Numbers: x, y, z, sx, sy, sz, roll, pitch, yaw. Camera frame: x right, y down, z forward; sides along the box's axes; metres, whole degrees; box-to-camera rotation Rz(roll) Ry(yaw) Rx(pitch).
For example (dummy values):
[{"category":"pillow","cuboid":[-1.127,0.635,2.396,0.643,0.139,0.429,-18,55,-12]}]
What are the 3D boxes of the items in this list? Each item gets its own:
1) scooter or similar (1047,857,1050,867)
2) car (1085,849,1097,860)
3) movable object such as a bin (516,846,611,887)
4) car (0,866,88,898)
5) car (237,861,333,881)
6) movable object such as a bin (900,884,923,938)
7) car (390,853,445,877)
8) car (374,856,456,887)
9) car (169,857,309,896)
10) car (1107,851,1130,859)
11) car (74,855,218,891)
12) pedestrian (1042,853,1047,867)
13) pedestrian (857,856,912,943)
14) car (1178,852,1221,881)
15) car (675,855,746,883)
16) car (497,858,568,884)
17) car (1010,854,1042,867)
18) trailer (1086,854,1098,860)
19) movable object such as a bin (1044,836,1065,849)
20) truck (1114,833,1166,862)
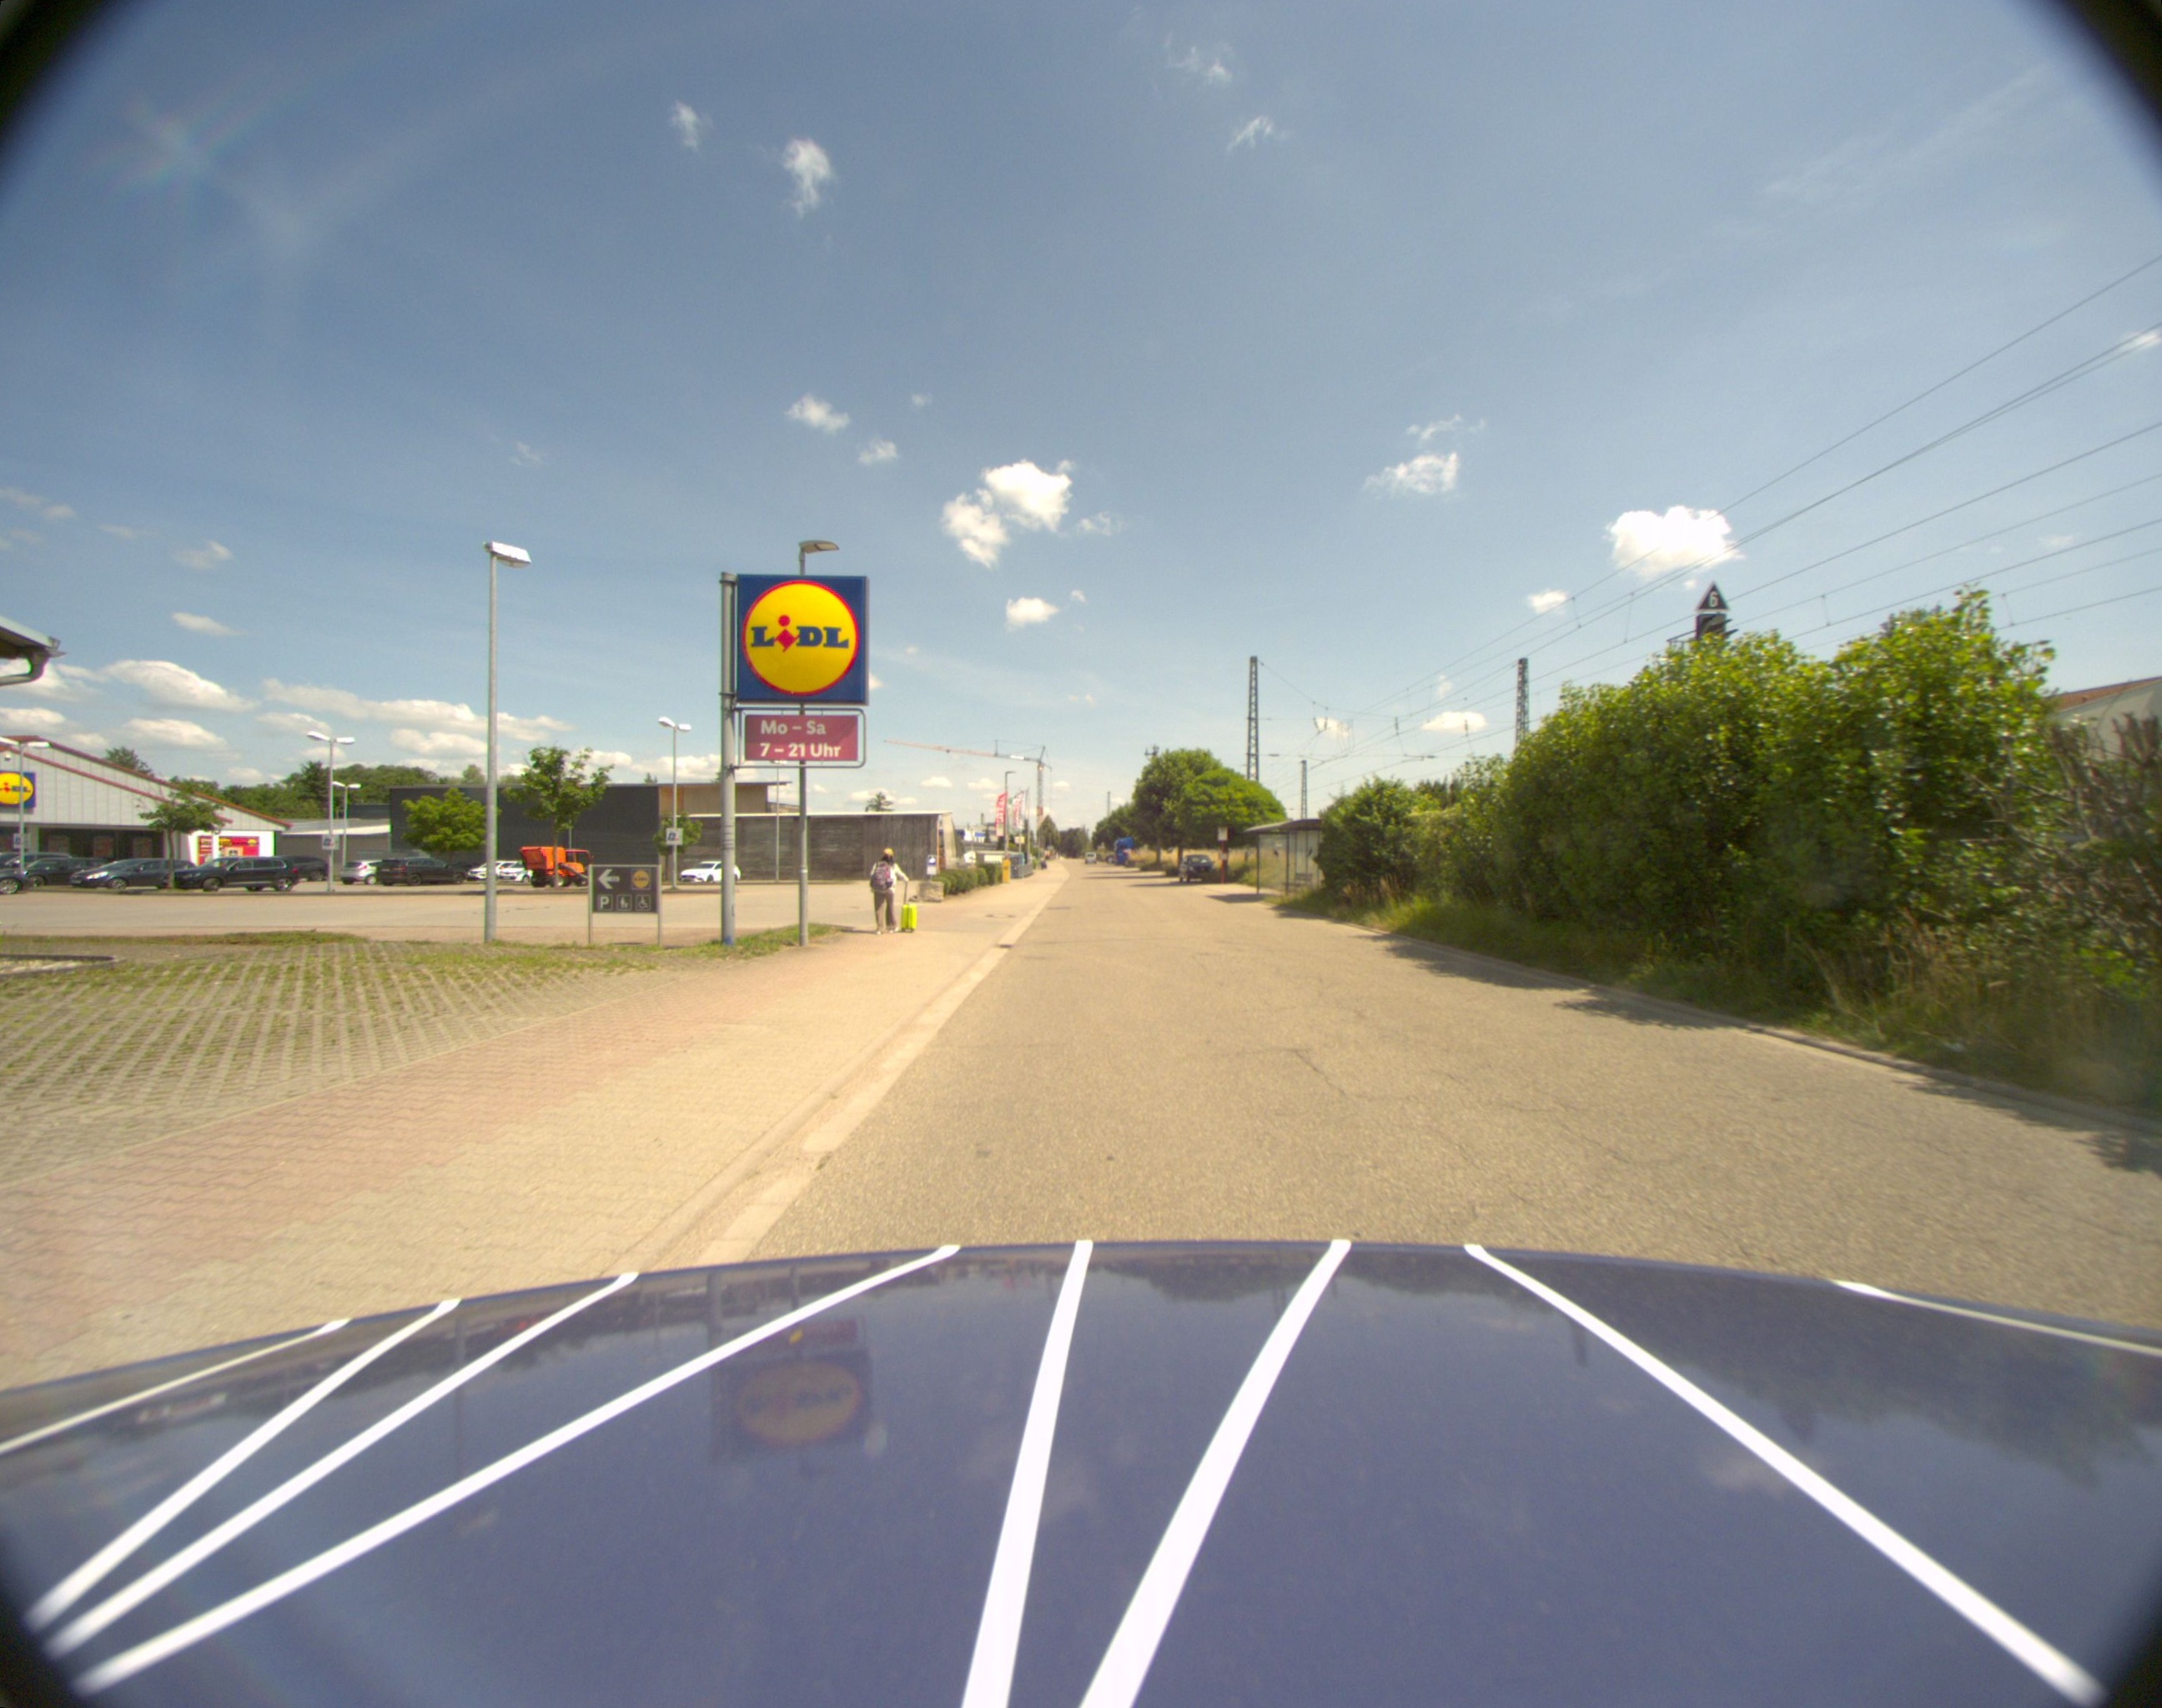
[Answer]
[{"category":"scooter or similar","cuboid":[-3.803,0.902,89.073,0.334,1.191,0.397,1,3,-1]},{"category":"car","cuboid":[1.738,0.046,131.024,1.843,1.847,4.483,-1,0,-1]},{"category":"movable object such as a bin","cuboid":[-29.396,0.667,43.360,1.682,2.191,4.526,1,0,12]},{"category":"car","cuboid":[-49.033,1.274,34.903,1.584,1.402,4.000,0,0,0]},{"category":"car","cuboid":[-49.096,1.016,46.950,1.611,1.166,3.793,1,0,14]},{"category":"movable object such as a bin","cuboid":[-3.347,1.118,15.021,0.375,1.024,0.498,0,1,-3]},{"category":"car","cuboid":[-44.271,0.729,50.733,1.224,1.558,2.673,1,0,5]},{"category":"car","cuboid":[-38.987,0.968,44.559,1.508,1.603,3.342,1,2,12]},{"category":"car","cuboid":[-38.199,0.971,34.625,1.582,1.621,4.004,0,0,12]},{"category":"car","cuboid":[6.658,0.198,133.988,3.954,1.442,1.787,0,1,3]},{"category":"car","cuboid":[-42.885,0.831,34.988,1.584,1.583,4.001,0,0,3]},{"category":"pedestrian","cuboid":[-4.295,0.714,89.021,0.536,1.532,0.510,0,6,-3]},{"category":"pedestrian","cuboid":[-3.750,0.829,14.565,0.763,1.592,1.210,0,0,-2]},{"category":"car","cuboid":[6.699,0.691,43.245,1.746,1.586,3.578,-1,0,-2]},{"category":"car","cuboid":[-23.680,0.952,48.801,1.997,1.652,4.441,0,-1,7]},{"category":"car","cuboid":[-36.240,1.093,50.321,1.583,1.565,4.001,0,0,3]},{"category":"car","cuboid":[-7.340,0.906,102.130,4.224,1.625,1.799,1,3,-3]},{"category":"trailer","cuboid":[1.845,0.508,127.615,1.823,0.845,4.222,1,0,-1]},{"category":"movable object such as a bin","cuboid":[-7.356,-3.155,209.306,5.134,3.277,2.390,0,6,-18]},{"category":"truck","cuboid":[7.928,-0.832,102.357,6.633,3.801,2.663,0,1,-4]}]
